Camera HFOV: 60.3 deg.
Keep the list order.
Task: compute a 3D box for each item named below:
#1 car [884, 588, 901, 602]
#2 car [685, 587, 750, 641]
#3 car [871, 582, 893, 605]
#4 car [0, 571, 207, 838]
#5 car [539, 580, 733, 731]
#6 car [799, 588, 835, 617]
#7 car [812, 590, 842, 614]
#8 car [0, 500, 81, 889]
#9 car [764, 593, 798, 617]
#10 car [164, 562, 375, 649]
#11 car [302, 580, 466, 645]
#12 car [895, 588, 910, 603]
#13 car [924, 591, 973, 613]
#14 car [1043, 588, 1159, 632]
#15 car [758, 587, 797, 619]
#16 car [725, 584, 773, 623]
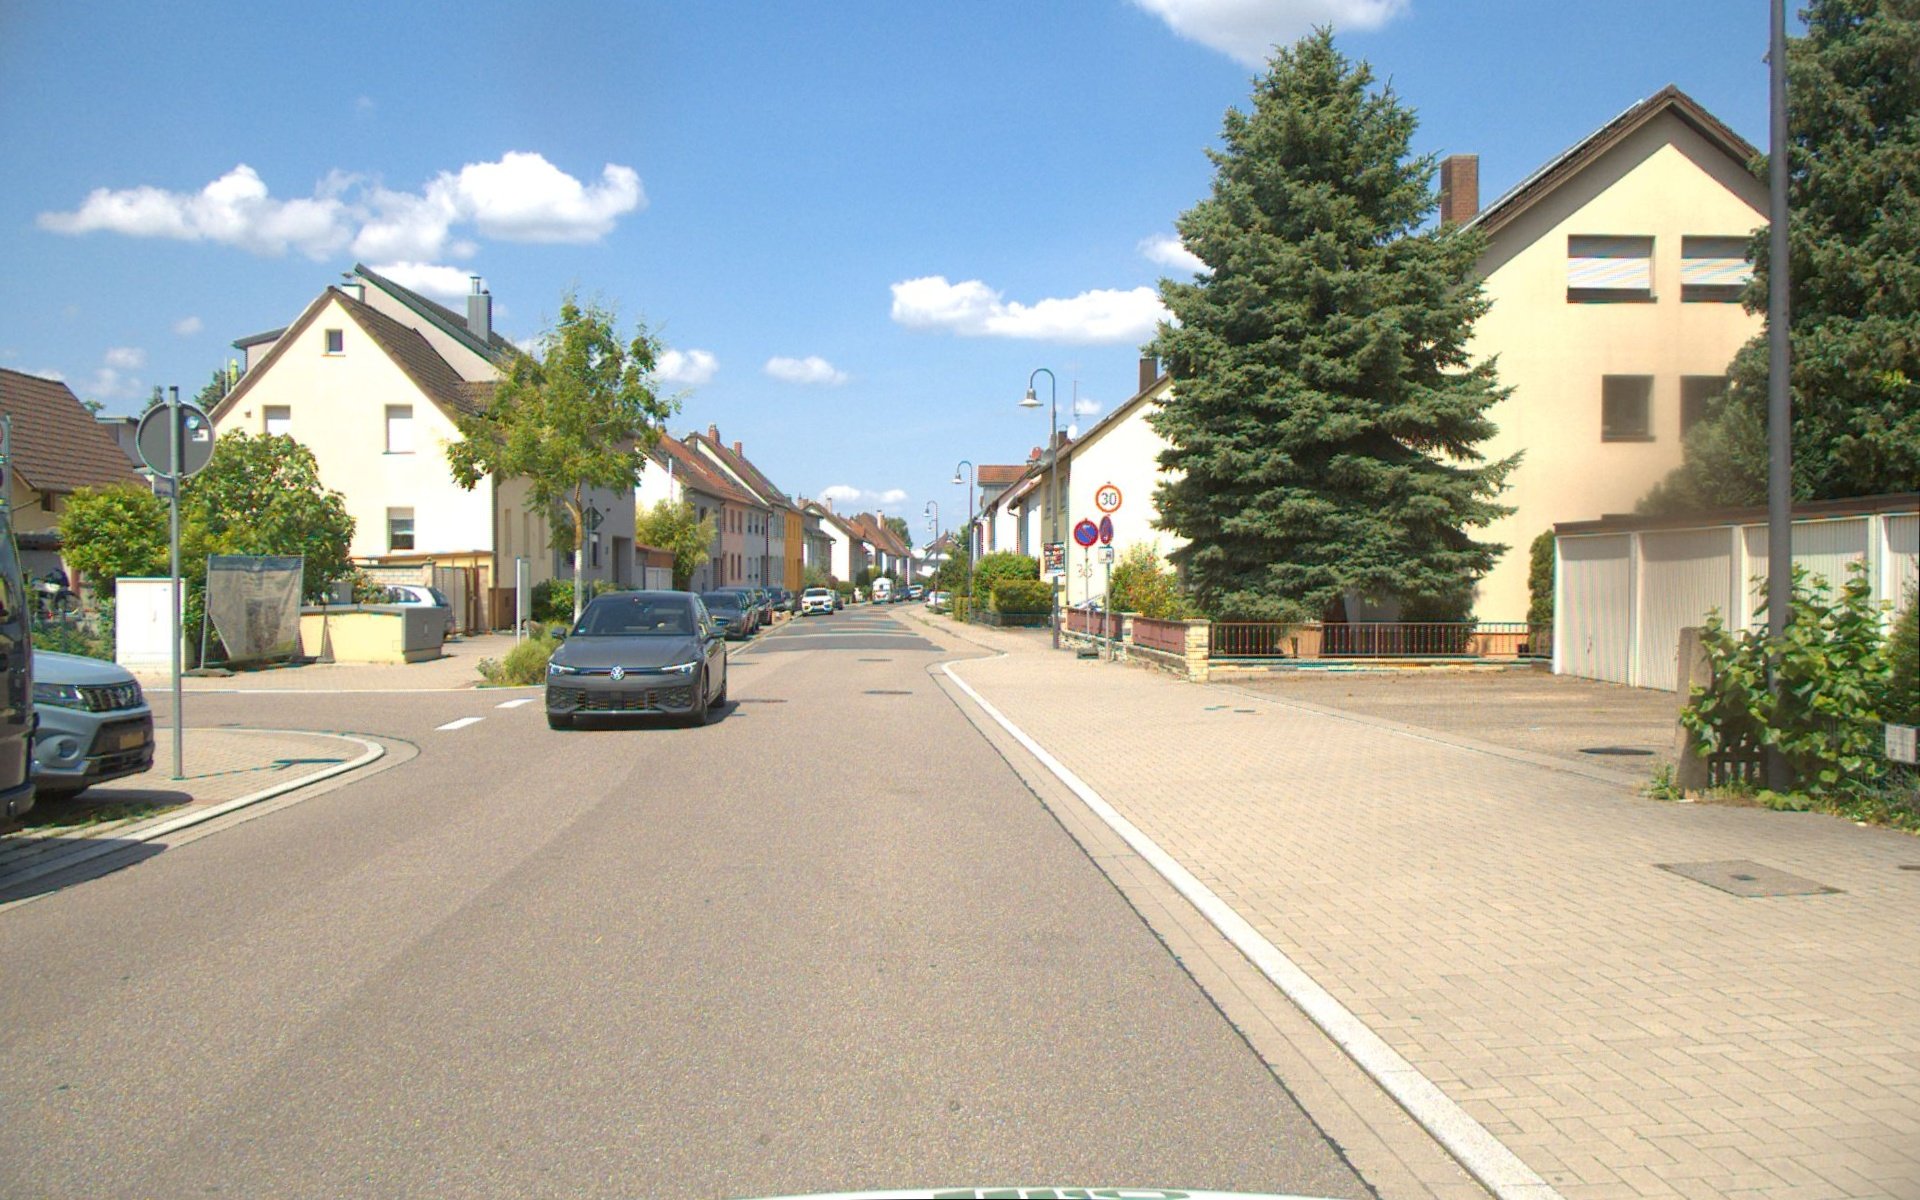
[{"bbox_3d":[-7.912,-0.620,193.991,1.657,1.530,3.771,1,0,1],"label":"car"},{"bbox_3d":[-7.738,0.427,53.021,1.781,1.458,4.135,4,1,-6],"label":"car"},{"bbox_3d":[-8.066,-0.655,171.700,2.003,2.352,3.771,1,-1,1],"label":"car"},{"bbox_3d":[-7.520,0.609,11.068,4.092,1.647,1.771,1,-1,-4],"label":"car"},{"bbox_3d":[-3.721,0.582,19.631,1.728,1.549,4.045,-2,0,-4],"label":"car"},{"bbox_3d":[-8.797,0.148,101.930,1.812,1.688,3.999,2,0,0],"label":"car"},{"bbox_3d":[-9.873,0.135,122.907,1.812,1.688,3.999,2,0,0],"label":"car"},{"bbox_3d":[-7.102,0.420,7.965,4.607,1.957,1.936,1,-1,-4],"label":"car"},{"bbox_3d":[-10.905,0.279,100.826,1.638,1.359,3.722,2,0,0],"label":"car"},{"bbox_3d":[-15.549,0.111,37.416,3.907,1.831,1.999,1,0,-2],"label":"car"},{"bbox_3d":[-14.493,0.302,41.746,3.452,1.496,1.792,2,0,1],"label":"car"},{"bbox_3d":[-7.011,-0.548,201.524,1.657,1.689,3.771,1,0,1],"label":"car"},{"bbox_3d":[-0.829,0.132,118.251,3.453,1.490,1.627,1,-1,-3],"label":"car"},{"bbox_3d":[4.950,0.343,58.350,3.907,1.499,1.745,0,0,-3],"label":"car"},{"bbox_3d":[-9.773,0.162,88.706,1.774,1.637,3.998,2,0,-3],"label":"car"},{"bbox_3d":[-9.385,0.159,73.930,1.744,1.637,3.998,2,0,-3],"label":"car"}]
